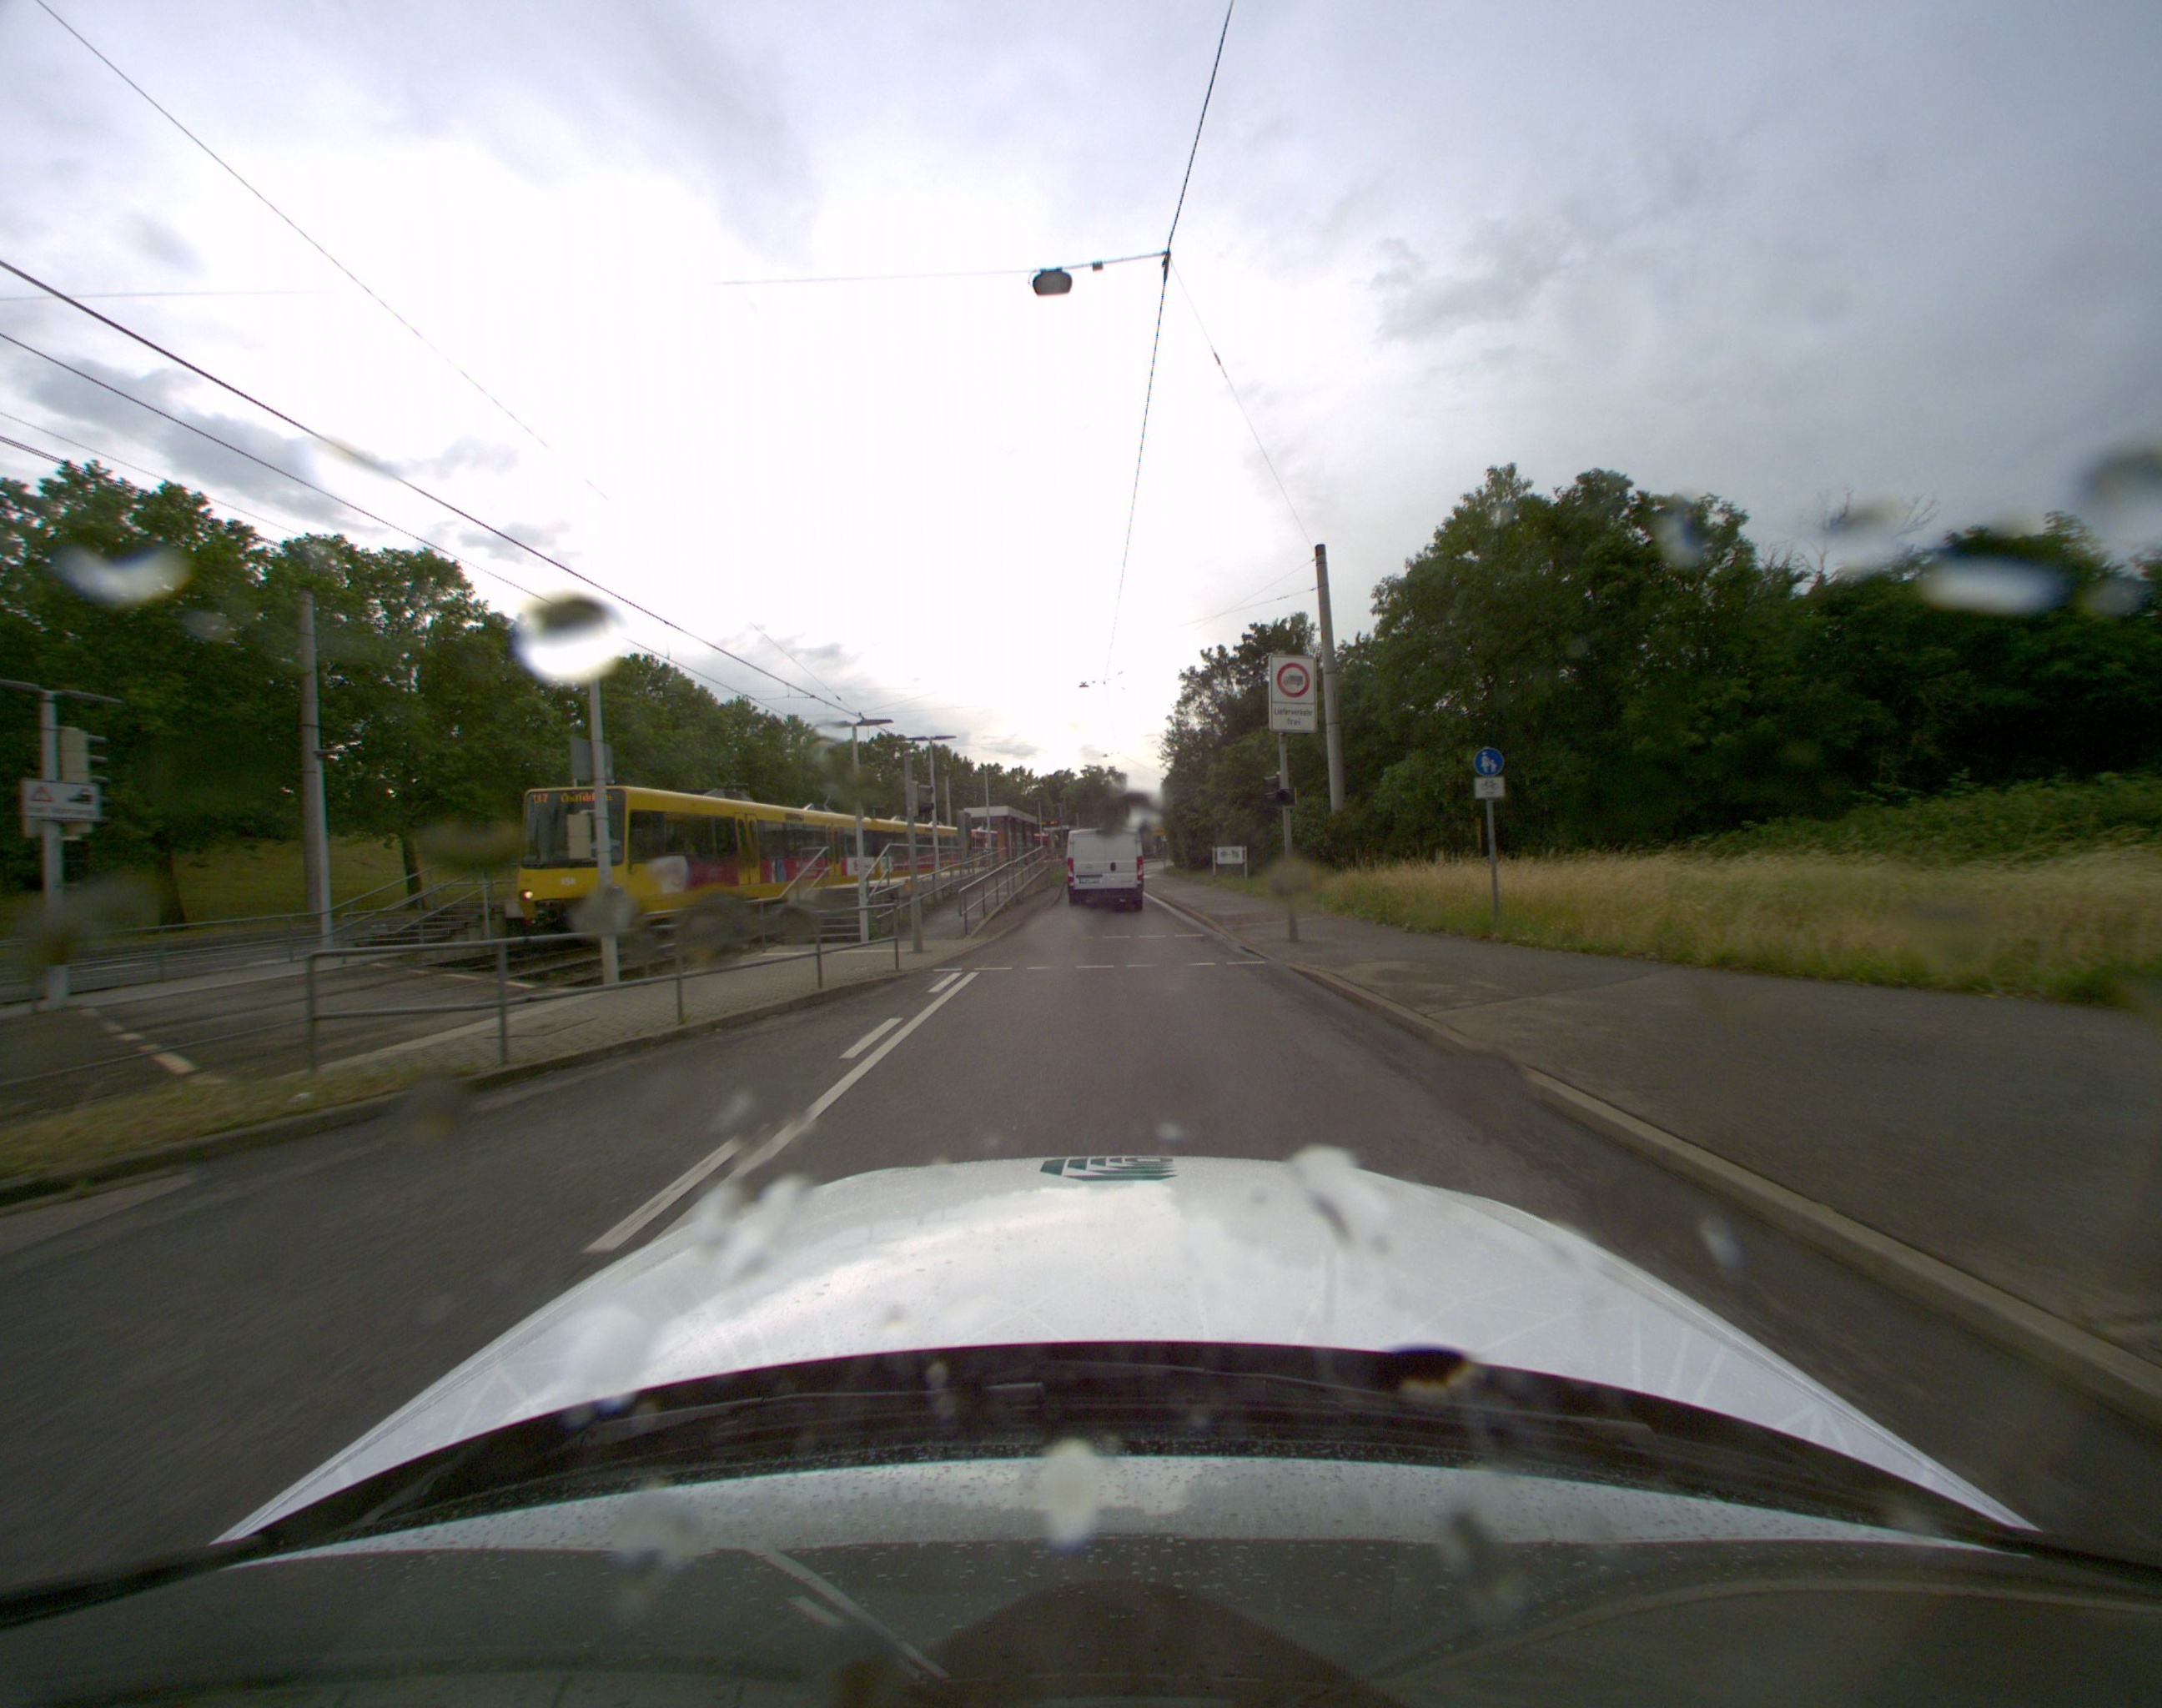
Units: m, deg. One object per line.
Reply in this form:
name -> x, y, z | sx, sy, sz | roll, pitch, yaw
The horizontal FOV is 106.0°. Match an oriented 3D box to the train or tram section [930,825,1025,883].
train or tram section -> -7.757, 0.084, 65.413 | 2.852, 3.971, 19.369 | 0, 0, 7

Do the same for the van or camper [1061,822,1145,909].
van or camper -> 0.521, 0.307, 23.580 | 2.193, 2.253, 4.681 | 0, -1, -1

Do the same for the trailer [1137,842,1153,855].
trailer -> 13.710, -1.169, 174.787 | 1.997, 2.725, 4.101 | -1, -1, -16

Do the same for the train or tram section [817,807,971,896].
train or tram section -> -9.701, -0.040, 46.216 | 2.855, 3.954, 19.352 | 0, 0, 4

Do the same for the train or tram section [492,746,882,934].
train or tram section -> -10.740, -0.225, 26.993 | 2.857, 3.973, 19.340 | 0, 0, 2
